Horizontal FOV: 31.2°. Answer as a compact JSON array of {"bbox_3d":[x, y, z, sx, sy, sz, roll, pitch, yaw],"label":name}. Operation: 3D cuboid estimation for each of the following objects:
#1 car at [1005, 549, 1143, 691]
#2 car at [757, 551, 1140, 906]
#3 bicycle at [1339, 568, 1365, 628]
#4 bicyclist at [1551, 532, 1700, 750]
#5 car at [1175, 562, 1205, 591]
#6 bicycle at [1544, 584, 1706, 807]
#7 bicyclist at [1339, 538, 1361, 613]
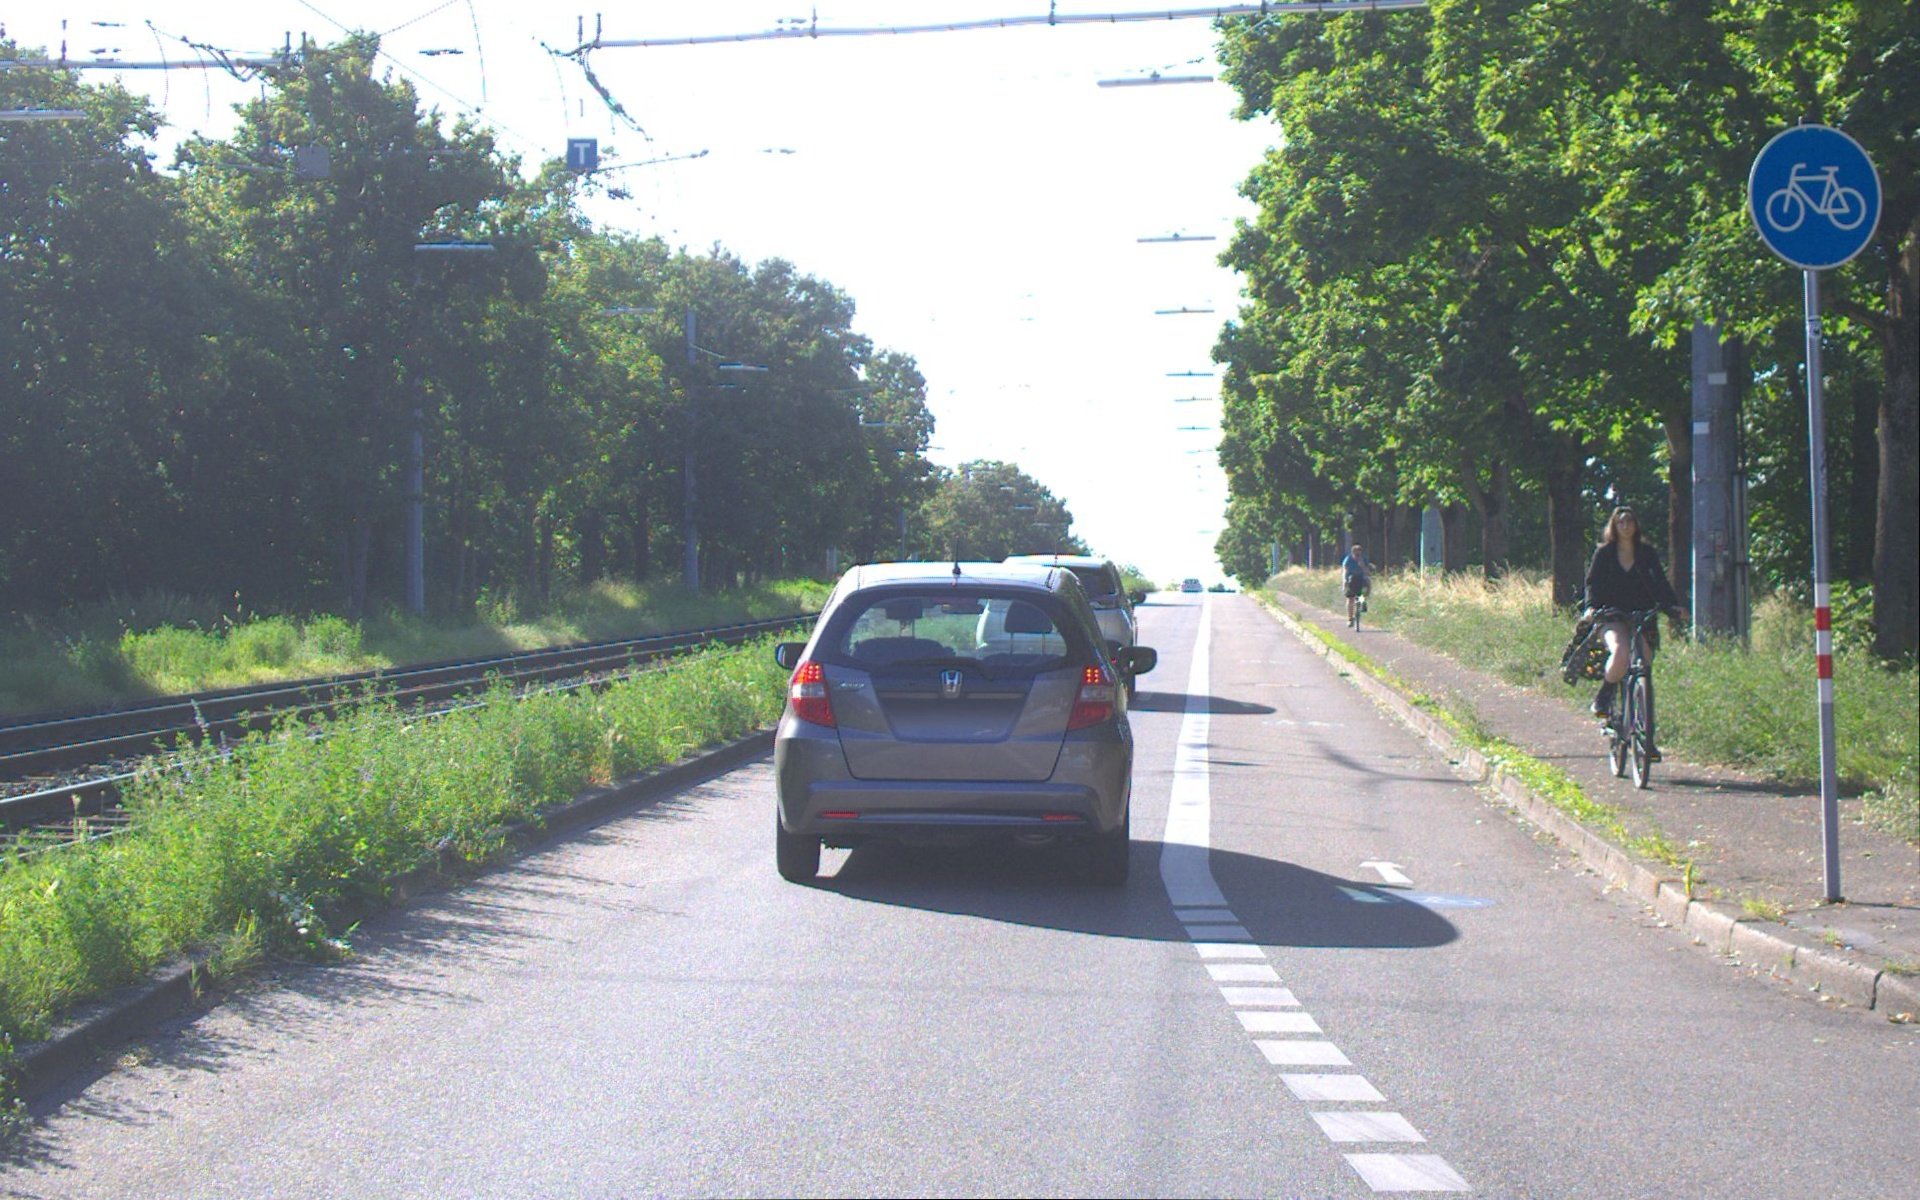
[{"bbox_3d":[1.301,0.226,38.400,1.351,1.522,3.122,0,0,5],"label":"car"},{"bbox_3d":[0.041,0.552,17.310,1.671,1.510,3.673,2,1,3],"label":"car"},{"bbox_3d":[7.939,-0.051,69.654,0.418,1.184,1.721,1,1,4],"label":"bicycle"},{"bbox_3d":[4.279,0.252,22.141,0.755,1.363,0.806,-1,1,-2],"label":"bicyclist"},{"bbox_3d":[17.417,-1.748,260.198,1.994,2.007,3.999,-5,-1,5],"label":"car"},{"bbox_3d":[4.207,0.571,21.907,0.619,1.186,2.506,-4,3,4],"label":"bicycle"},{"bbox_3d":[7.939,-0.502,69.934,0.405,1.501,0.574,0,1,4],"label":"bicyclist"}]
